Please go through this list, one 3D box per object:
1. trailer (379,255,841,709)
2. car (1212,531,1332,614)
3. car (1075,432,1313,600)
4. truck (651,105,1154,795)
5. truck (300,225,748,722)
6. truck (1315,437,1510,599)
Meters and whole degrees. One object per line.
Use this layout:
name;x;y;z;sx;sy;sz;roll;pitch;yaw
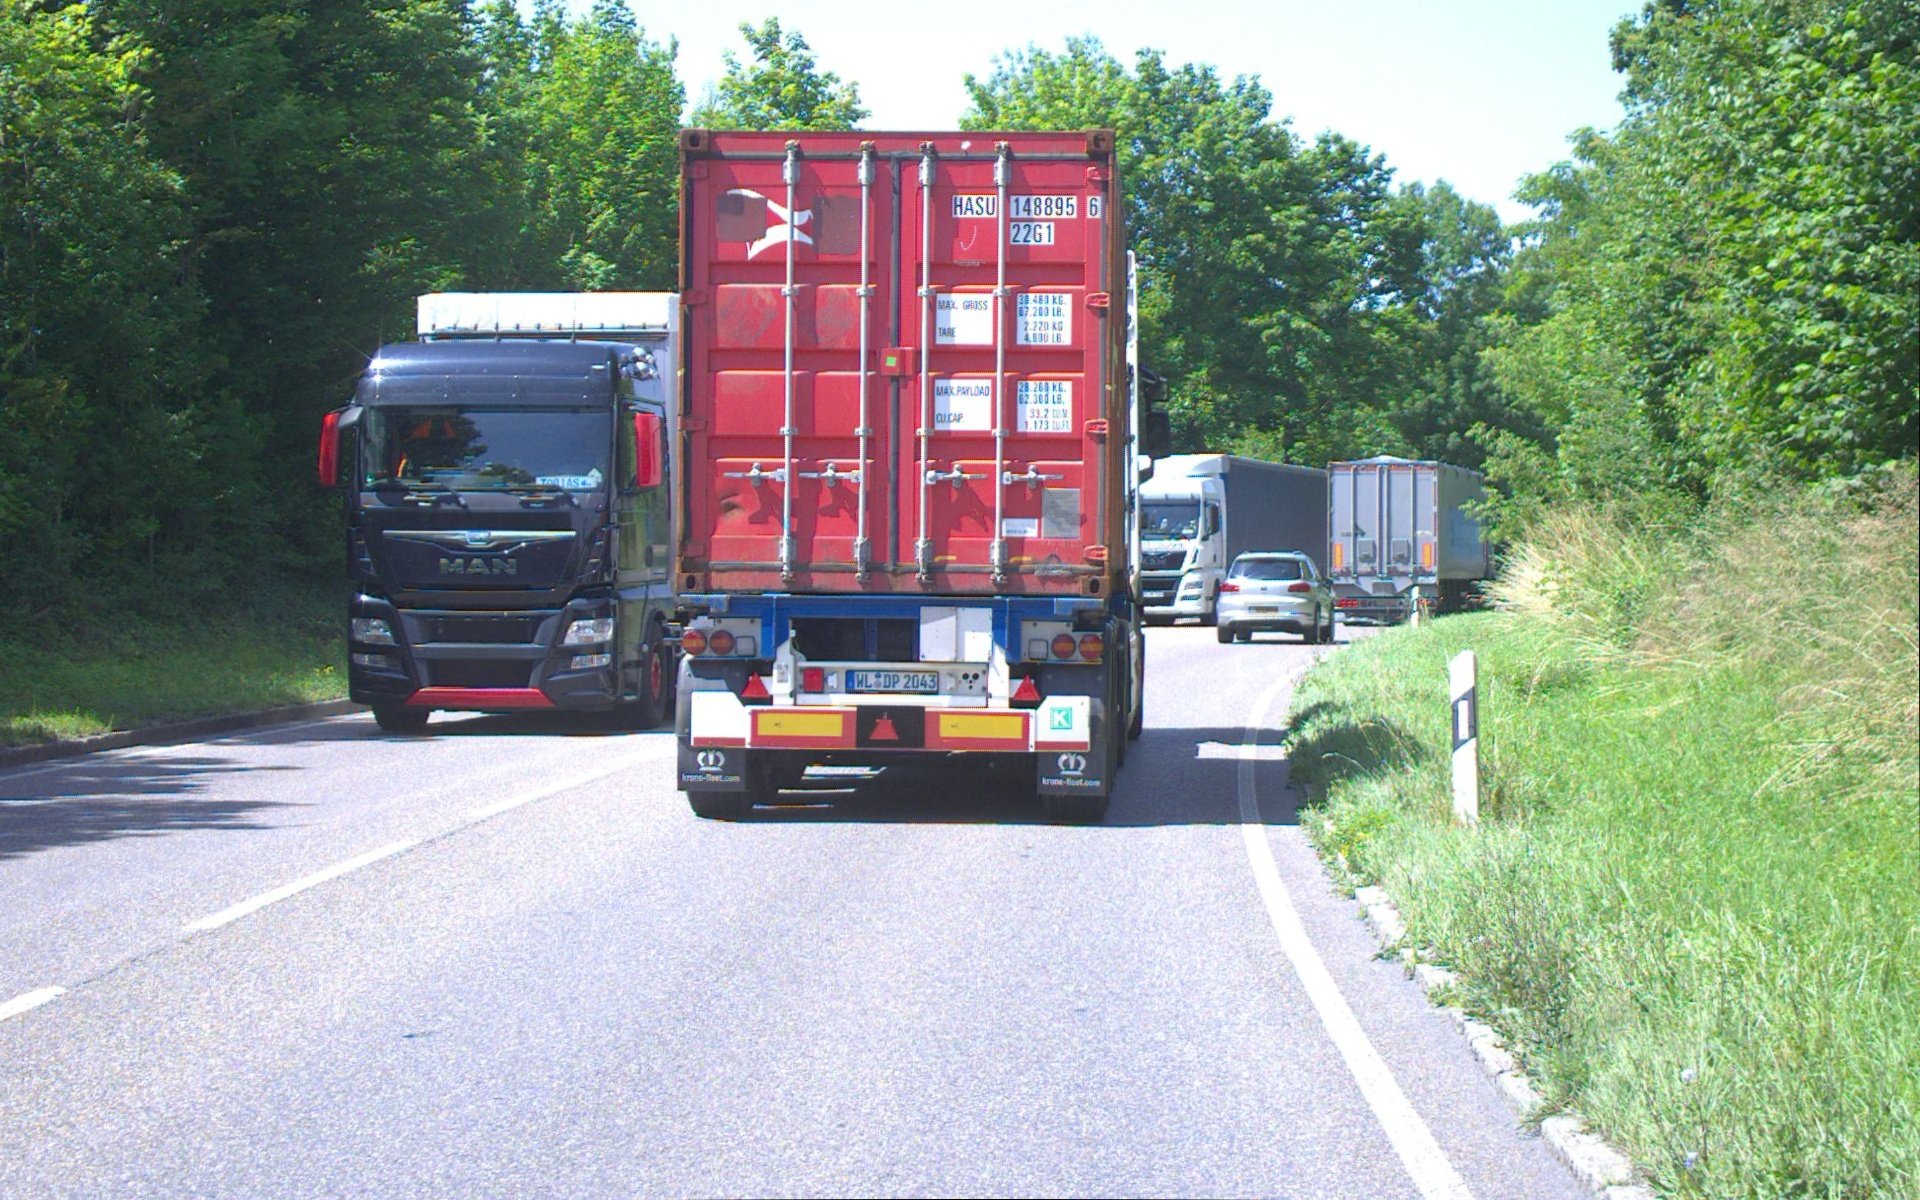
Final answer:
trailer;-3.438;-1.141;37.348;2.922;4.168;11.262;0;0;5
car;5.819;-0.516;63.719;1.833;1.428;3.998;-2;0;10
car;6.028;-2.057;85.564;3.267;3.860;12.736;0;1;16
truck;0.052;-0.892;25.651;2.648;3.793;13.358;0;0;4
truck;-3.860;-1.097;31.892;2.922;4.168;5.918;0;0;5
truck;11.439;-1.996;85.629;2.924;3.704;13.350;0;1;16
